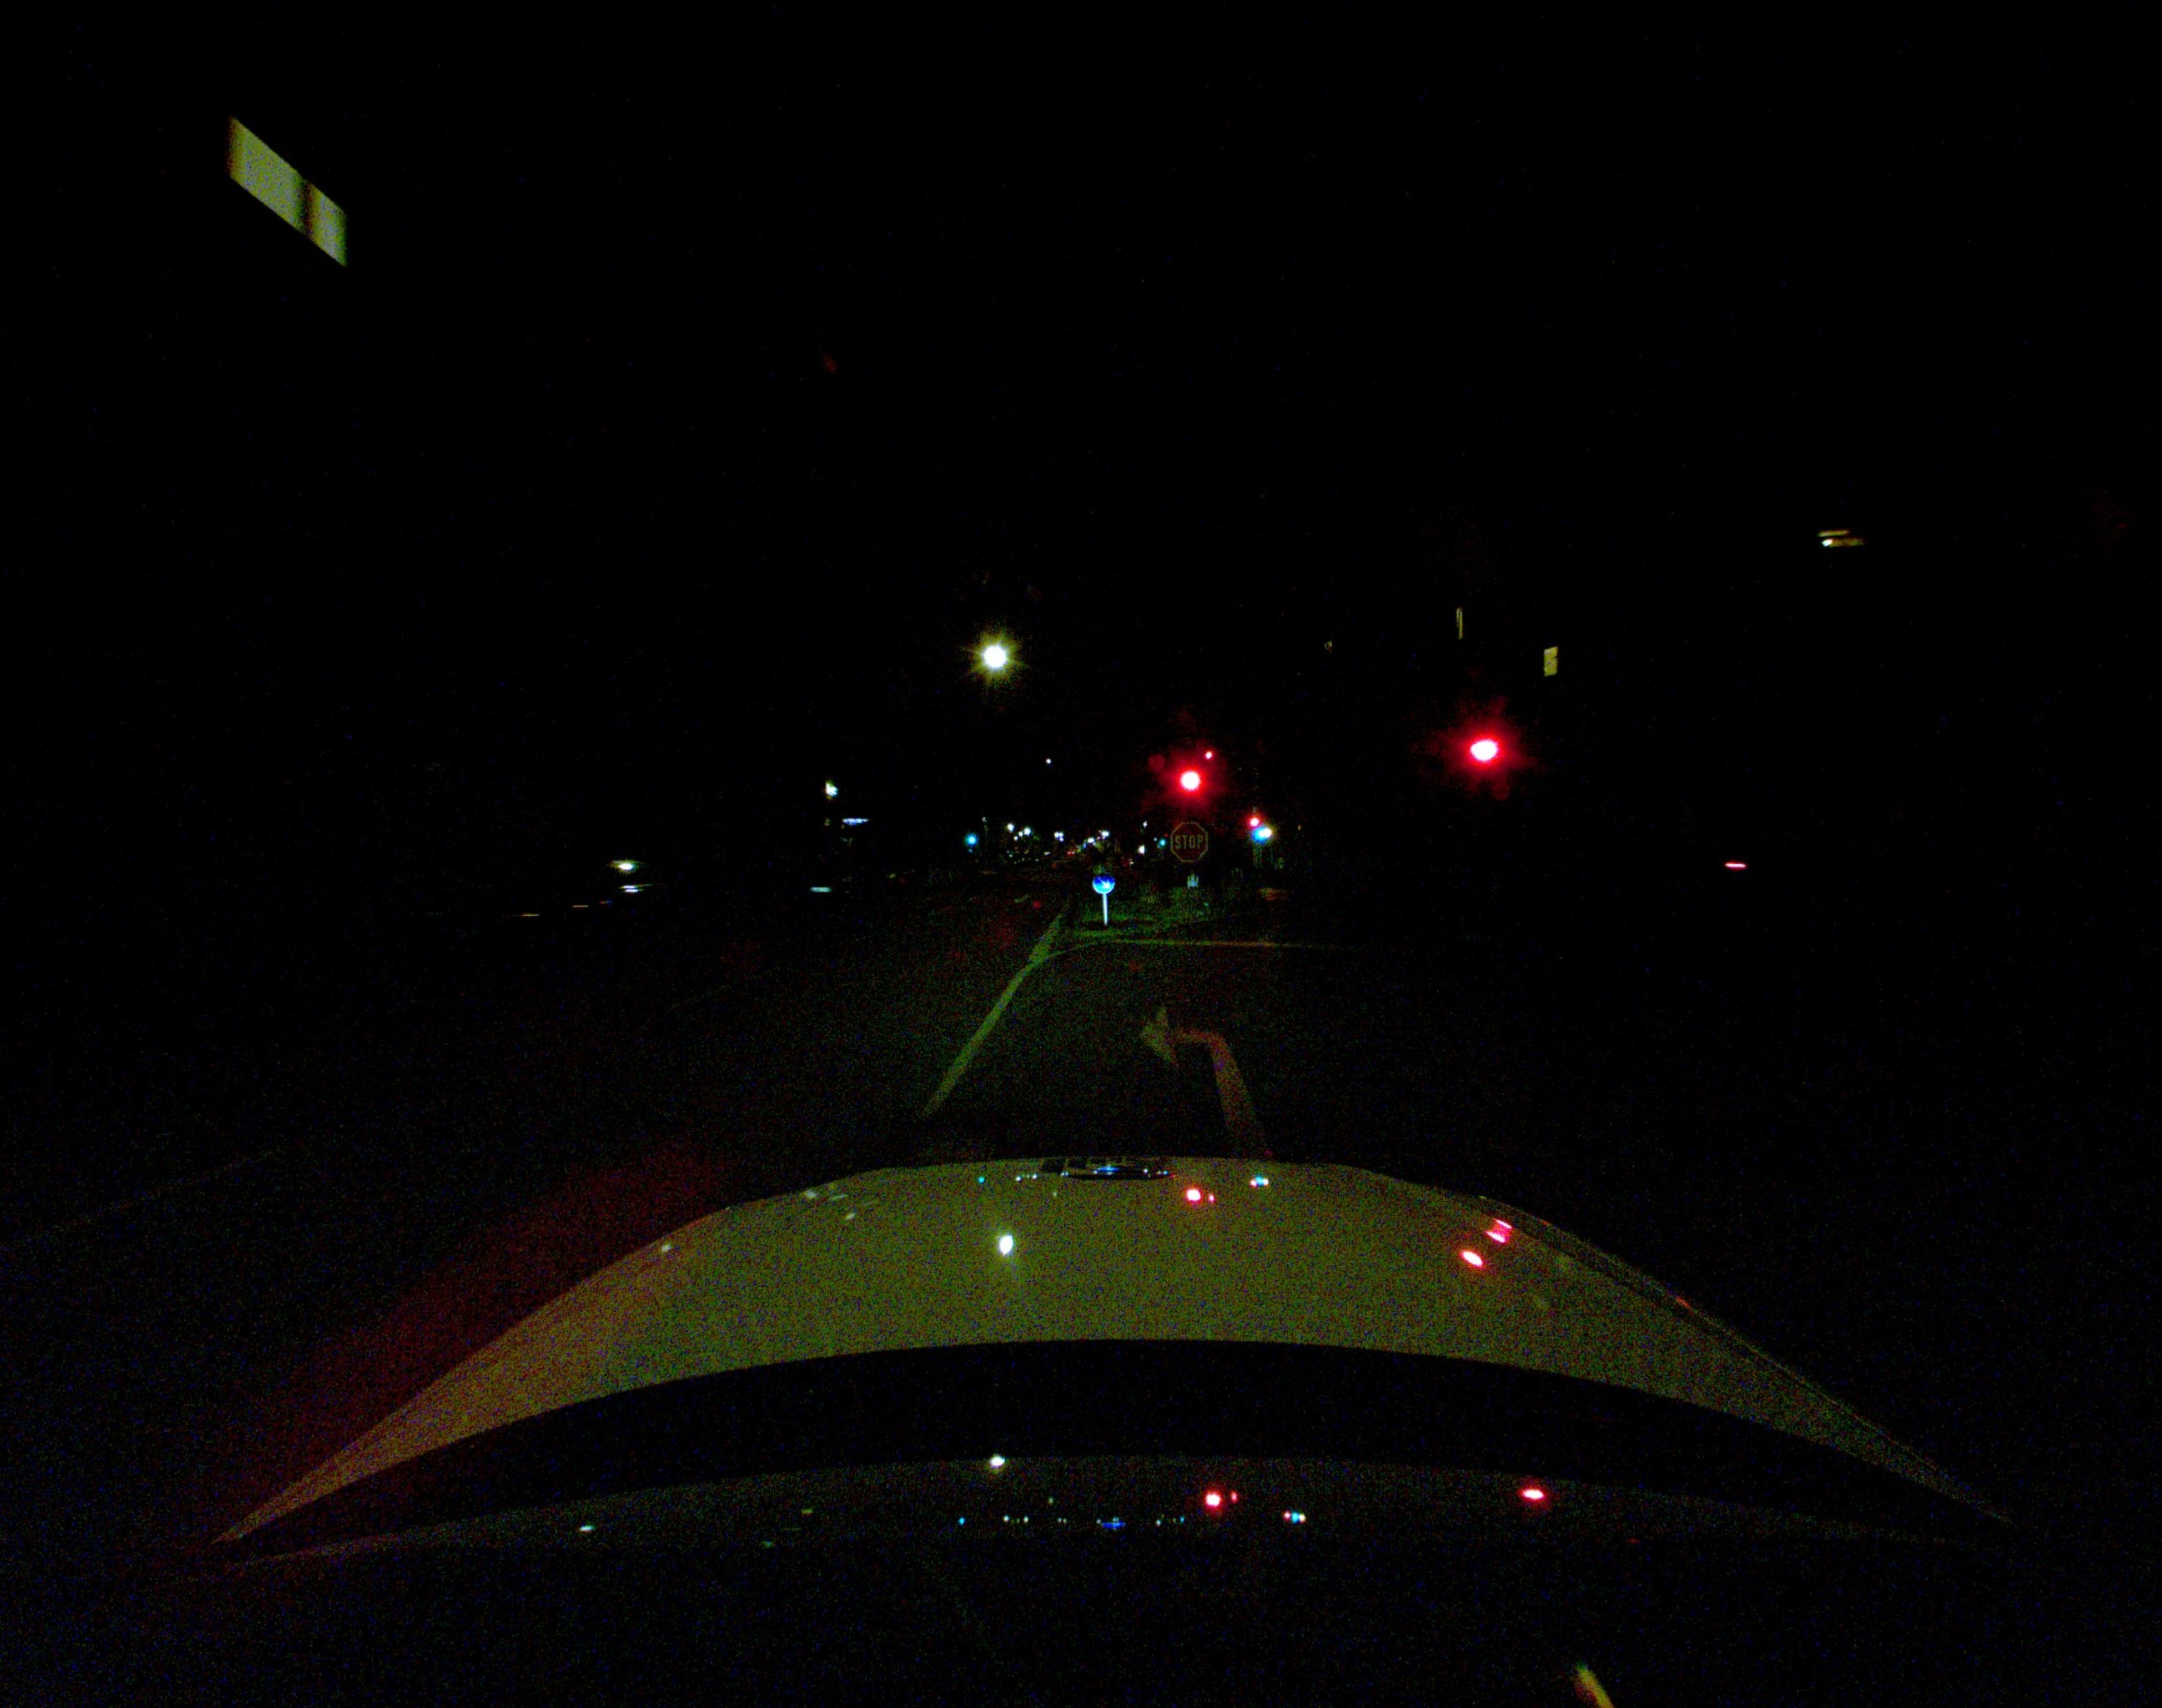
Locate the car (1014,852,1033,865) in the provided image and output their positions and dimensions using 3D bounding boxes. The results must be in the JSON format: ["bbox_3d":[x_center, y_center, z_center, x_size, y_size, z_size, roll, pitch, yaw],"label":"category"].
[{"bbox_3d":[-6.111,0.477,87.241,1.645,1.431,4.001,-1,0,1],"label":"car"}]

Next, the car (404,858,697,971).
[{"bbox_3d":[-7.662,0.757,12.378,1.618,1.383,4.449,0,0,-2],"label":"car"}]

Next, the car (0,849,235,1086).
[{"bbox_3d":[-7.669,0.714,4.073,1.762,1.486,4.863,0,0,0],"label":"car"}]

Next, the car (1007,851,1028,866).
[{"bbox_3d":[-6.327,0.478,81.231,1.645,1.431,4.001,-1,0,1],"label":"car"}]

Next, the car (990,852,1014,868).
[{"bbox_3d":[-7.060,0.541,73.180,1.645,1.431,4.001,-1,0,1],"label":"car"}]

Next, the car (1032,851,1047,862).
[{"bbox_3d":[-5.477,0.380,107.863,1.645,1.431,4.001,-1,0,1],"label":"car"}]

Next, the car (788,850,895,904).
[{"bbox_3d":[-7.371,0.665,25.541,1.892,1.471,4.453,2,0,1],"label":"car"}]

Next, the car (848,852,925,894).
[{"bbox_3d":[-7.183,0.672,30.535,1.797,1.481,4.323,0,0,0],"label":"car"}]

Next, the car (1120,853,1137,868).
[{"bbox_3d":[4.882,0.629,83.579,1.645,1.431,4.003,-1,0,3],"label":"car"}]

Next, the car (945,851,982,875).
[{"bbox_3d":[-7.432,0.564,51.742,1.645,1.431,4.001,-1,0,1],"label":"car"}]
